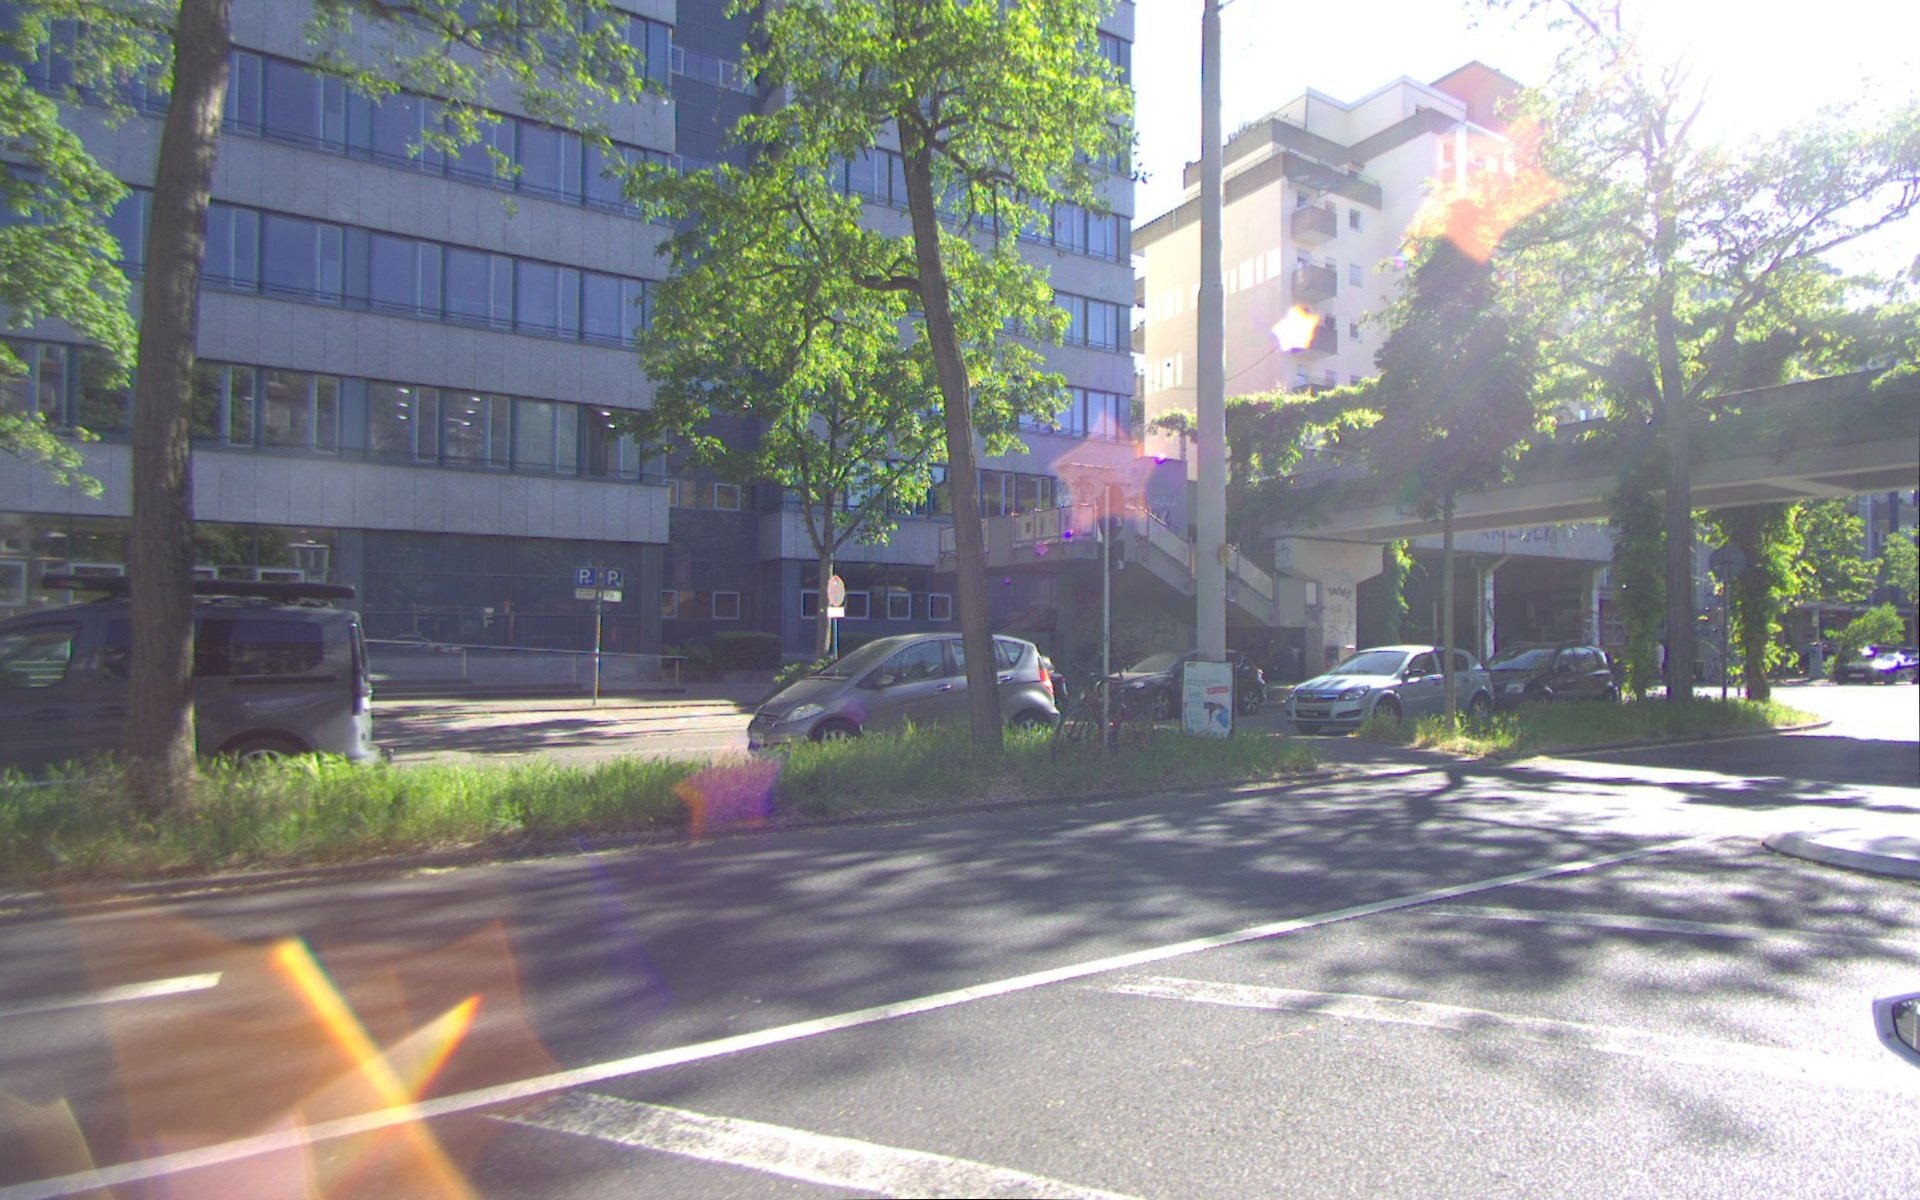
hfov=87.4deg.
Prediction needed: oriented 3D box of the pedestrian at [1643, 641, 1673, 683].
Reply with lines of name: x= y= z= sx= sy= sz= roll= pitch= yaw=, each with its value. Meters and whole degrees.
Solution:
pedestrian: x=29.416 y=2.587 z=42.319 sx=0.787 sy=1.722 sz=0.751 roll=2 pitch=0 yaw=-32

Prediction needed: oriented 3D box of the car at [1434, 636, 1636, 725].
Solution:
car: x=11.107 y=1.522 z=19.362 sx=3.736 sy=1.558 sz=1.732 roll=2 pitch=-5 yaw=-31

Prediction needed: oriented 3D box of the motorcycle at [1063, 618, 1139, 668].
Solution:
motorcycle: x=3.801 y=1.161 z=27.007 sx=2.031 sy=1.287 sz=0.725 roll=2 pitch=-3 yaw=-32

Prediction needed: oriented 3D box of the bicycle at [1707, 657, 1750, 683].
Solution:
bicycle: x=32.476 y=2.961 z=42.455 sx=1.772 sy=1.045 sz=0.414 roll=1 pitch=1 yaw=-15

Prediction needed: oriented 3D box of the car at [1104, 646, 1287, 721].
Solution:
car: x=5.327 y=1.819 z=22.635 sx=3.954 sy=1.550 sz=1.724 roll=2 pitch=-3 yaw=-31

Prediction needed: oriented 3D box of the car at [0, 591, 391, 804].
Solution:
car: x=-7.270 y=0.754 z=8.322 sx=4.398 sy=1.569 sz=1.721 roll=2 pitch=-2 yaw=-32

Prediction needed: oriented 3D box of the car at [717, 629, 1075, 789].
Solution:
car: x=-0.731 y=1.213 z=12.267 sx=4.036 sy=1.668 sz=1.764 roll=1 pitch=-3 yaw=-31

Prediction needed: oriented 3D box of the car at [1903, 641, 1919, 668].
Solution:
car: x=59.253 y=3.273 z=60.036 sx=1.670 sy=1.651 sz=3.963 roll=2 pitch=-3 yaw=-34

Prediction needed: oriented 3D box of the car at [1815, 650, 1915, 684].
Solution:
car: x=39.547 y=2.897 z=43.868 sx=4.474 sy=1.416 sz=1.883 roll=1 pitch=-3 yaw=-29

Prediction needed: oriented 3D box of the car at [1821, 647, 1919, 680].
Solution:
car: x=48.421 y=3.337 z=53.169 sx=1.823 sy=1.628 sz=3.963 roll=2 pitch=-3 yaw=-34

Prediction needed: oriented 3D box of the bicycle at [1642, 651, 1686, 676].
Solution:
bicycle: x=31.021 y=2.795 z=44.265 sx=1.591 sy=1.014 sz=0.414 roll=0 pitch=0 yaw=37

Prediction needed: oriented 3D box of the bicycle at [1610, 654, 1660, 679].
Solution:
bicycle: x=29.940 y=2.947 z=44.570 sx=0.480 sy=1.014 sz=1.782 roll=0 pitch=-2 yaw=-38

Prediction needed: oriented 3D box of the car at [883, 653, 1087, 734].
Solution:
car: x=0.526 y=1.774 z=19.790 sx=3.762 sy=1.422 sz=1.671 roll=2 pitch=-3 yaw=-34

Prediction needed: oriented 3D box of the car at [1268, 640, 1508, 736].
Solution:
car: x=7.424 y=1.484 z=17.325 sx=4.235 sy=1.466 sz=1.644 roll=2 pitch=-6 yaw=-32

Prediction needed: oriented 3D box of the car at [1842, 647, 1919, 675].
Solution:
car: x=50.617 y=3.287 z=54.449 sx=1.670 sy=1.443 sz=3.963 roll=2 pitch=-3 yaw=-34

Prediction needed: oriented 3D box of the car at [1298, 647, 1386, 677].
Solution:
car: x=19.600 y=3.169 z=51.744 sx=1.747 sy=1.429 sz=4.030 roll=1 pitch=-3 yaw=-31

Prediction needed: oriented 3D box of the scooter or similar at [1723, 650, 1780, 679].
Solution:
scooter or similar: x=36.425 y=2.942 z=46.236 sx=0.624 sy=1.294 sz=1.954 roll=1 pitch=-2 yaw=-35

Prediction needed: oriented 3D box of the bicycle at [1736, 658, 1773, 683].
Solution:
bicycle: x=34.505 y=3.049 z=43.625 sx=1.775 sy=1.014 sz=0.413 roll=1 pitch=1 yaw=-22
